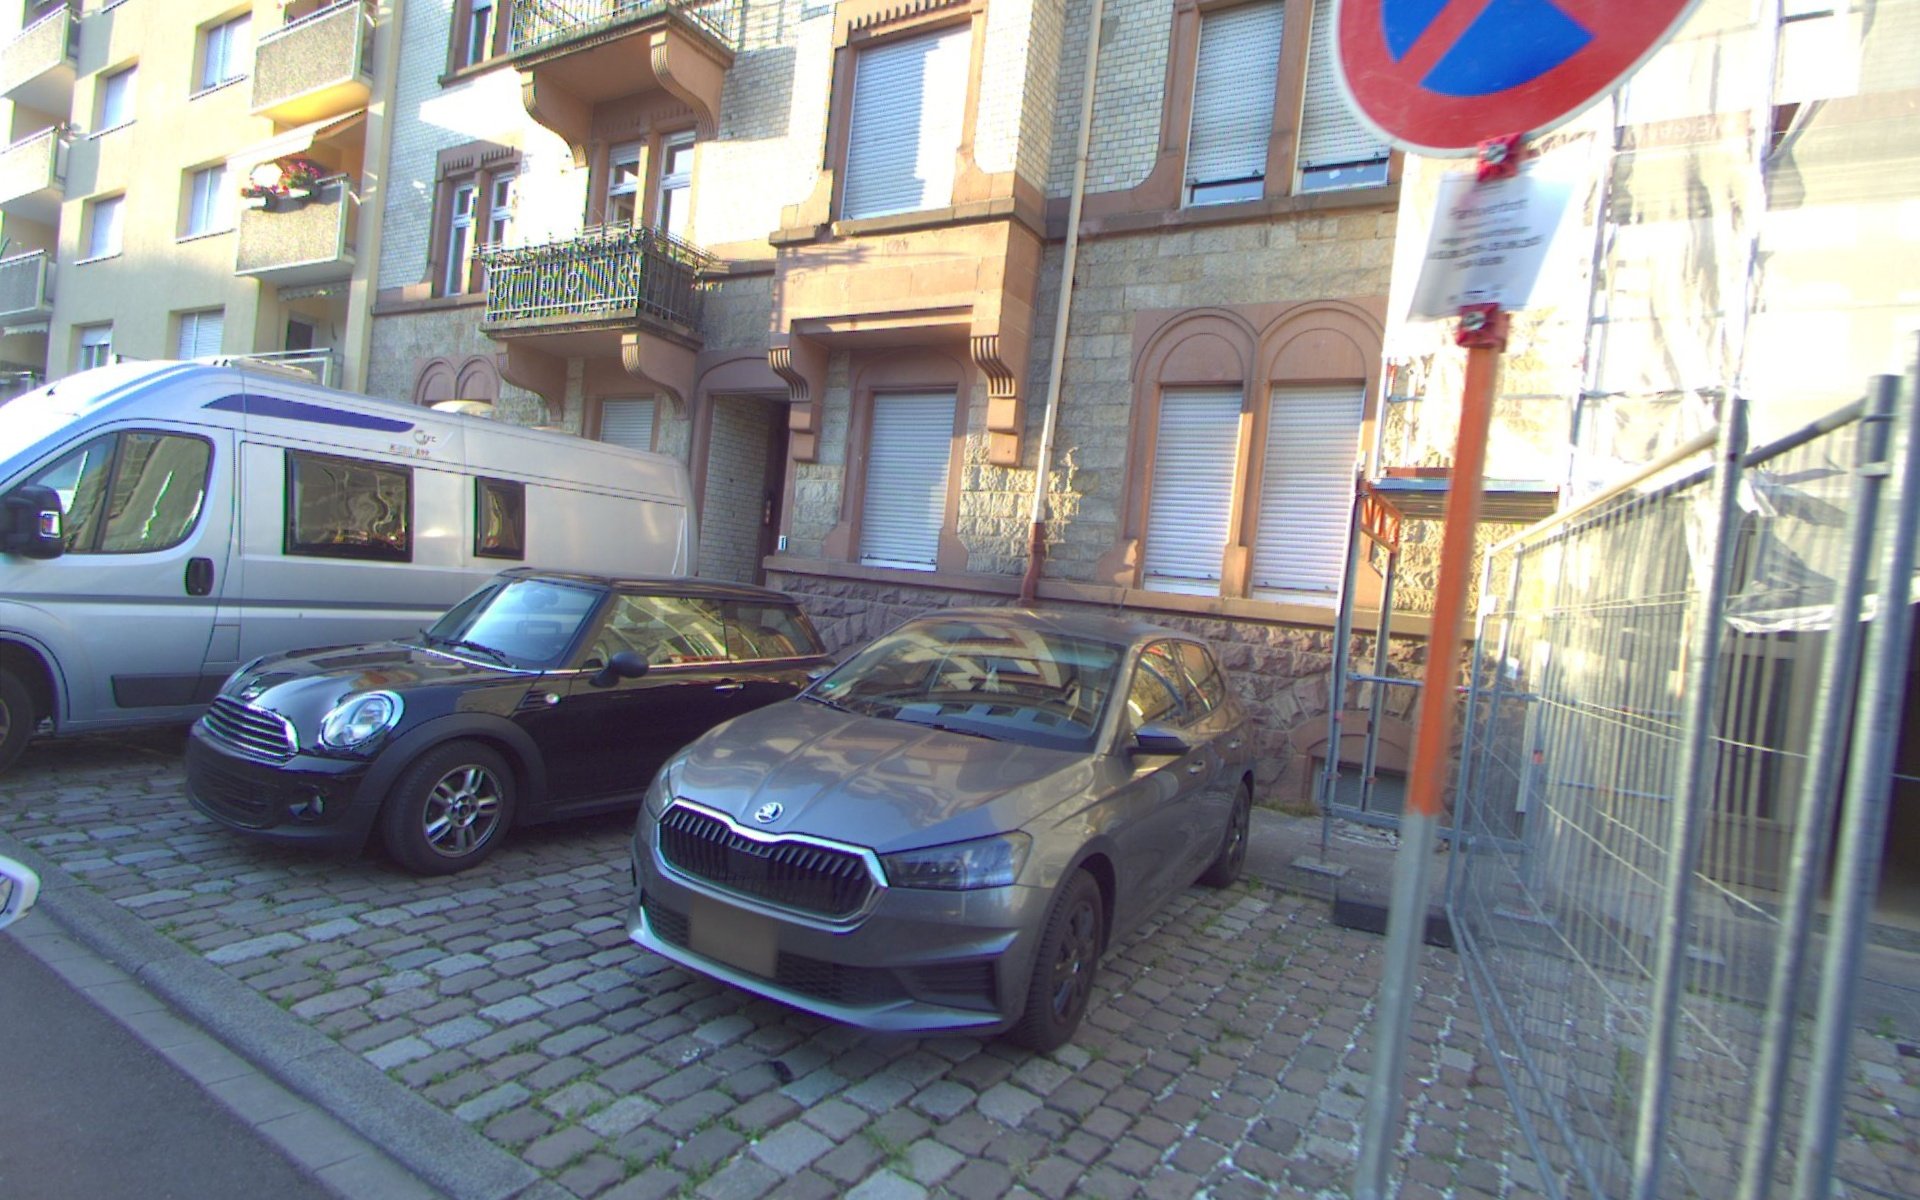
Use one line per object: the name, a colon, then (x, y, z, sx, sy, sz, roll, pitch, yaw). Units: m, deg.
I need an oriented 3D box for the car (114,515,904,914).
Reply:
car: (-2.235, 0.465, 5.994, 1.758, 1.505, 3.934, 5, 1, 33)

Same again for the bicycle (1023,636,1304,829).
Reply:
bicycle: (1.612, 1.010, 8.078, 1.999, 1.182, 0.632, 7, 0, 26)

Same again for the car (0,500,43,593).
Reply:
car: (-16.770, -1.001, 15.004, 1.691, 1.444, 4.239, 6, 1, 31)

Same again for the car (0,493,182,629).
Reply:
car: (-11.416, -0.502, 11.157, 1.803, 1.473, 3.990, 6, 2, 28)

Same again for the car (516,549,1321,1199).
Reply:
car: (0.315, 0.724, 4.753, 1.984, 1.536, 3.991, 6, 2, 27)

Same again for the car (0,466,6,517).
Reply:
car: (-19.007, -1.562, 16.256, 1.966, 2.171, 4.715, 7, -1, 30)

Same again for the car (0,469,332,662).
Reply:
car: (-9.172, -0.358, 10.192, 1.741, 1.750, 4.443, 6, 1, 25)

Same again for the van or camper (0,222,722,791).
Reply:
van or camper: (-4.700, -0.365, 7.169, 2.074, 2.802, 5.940, 6, -2, 31)
